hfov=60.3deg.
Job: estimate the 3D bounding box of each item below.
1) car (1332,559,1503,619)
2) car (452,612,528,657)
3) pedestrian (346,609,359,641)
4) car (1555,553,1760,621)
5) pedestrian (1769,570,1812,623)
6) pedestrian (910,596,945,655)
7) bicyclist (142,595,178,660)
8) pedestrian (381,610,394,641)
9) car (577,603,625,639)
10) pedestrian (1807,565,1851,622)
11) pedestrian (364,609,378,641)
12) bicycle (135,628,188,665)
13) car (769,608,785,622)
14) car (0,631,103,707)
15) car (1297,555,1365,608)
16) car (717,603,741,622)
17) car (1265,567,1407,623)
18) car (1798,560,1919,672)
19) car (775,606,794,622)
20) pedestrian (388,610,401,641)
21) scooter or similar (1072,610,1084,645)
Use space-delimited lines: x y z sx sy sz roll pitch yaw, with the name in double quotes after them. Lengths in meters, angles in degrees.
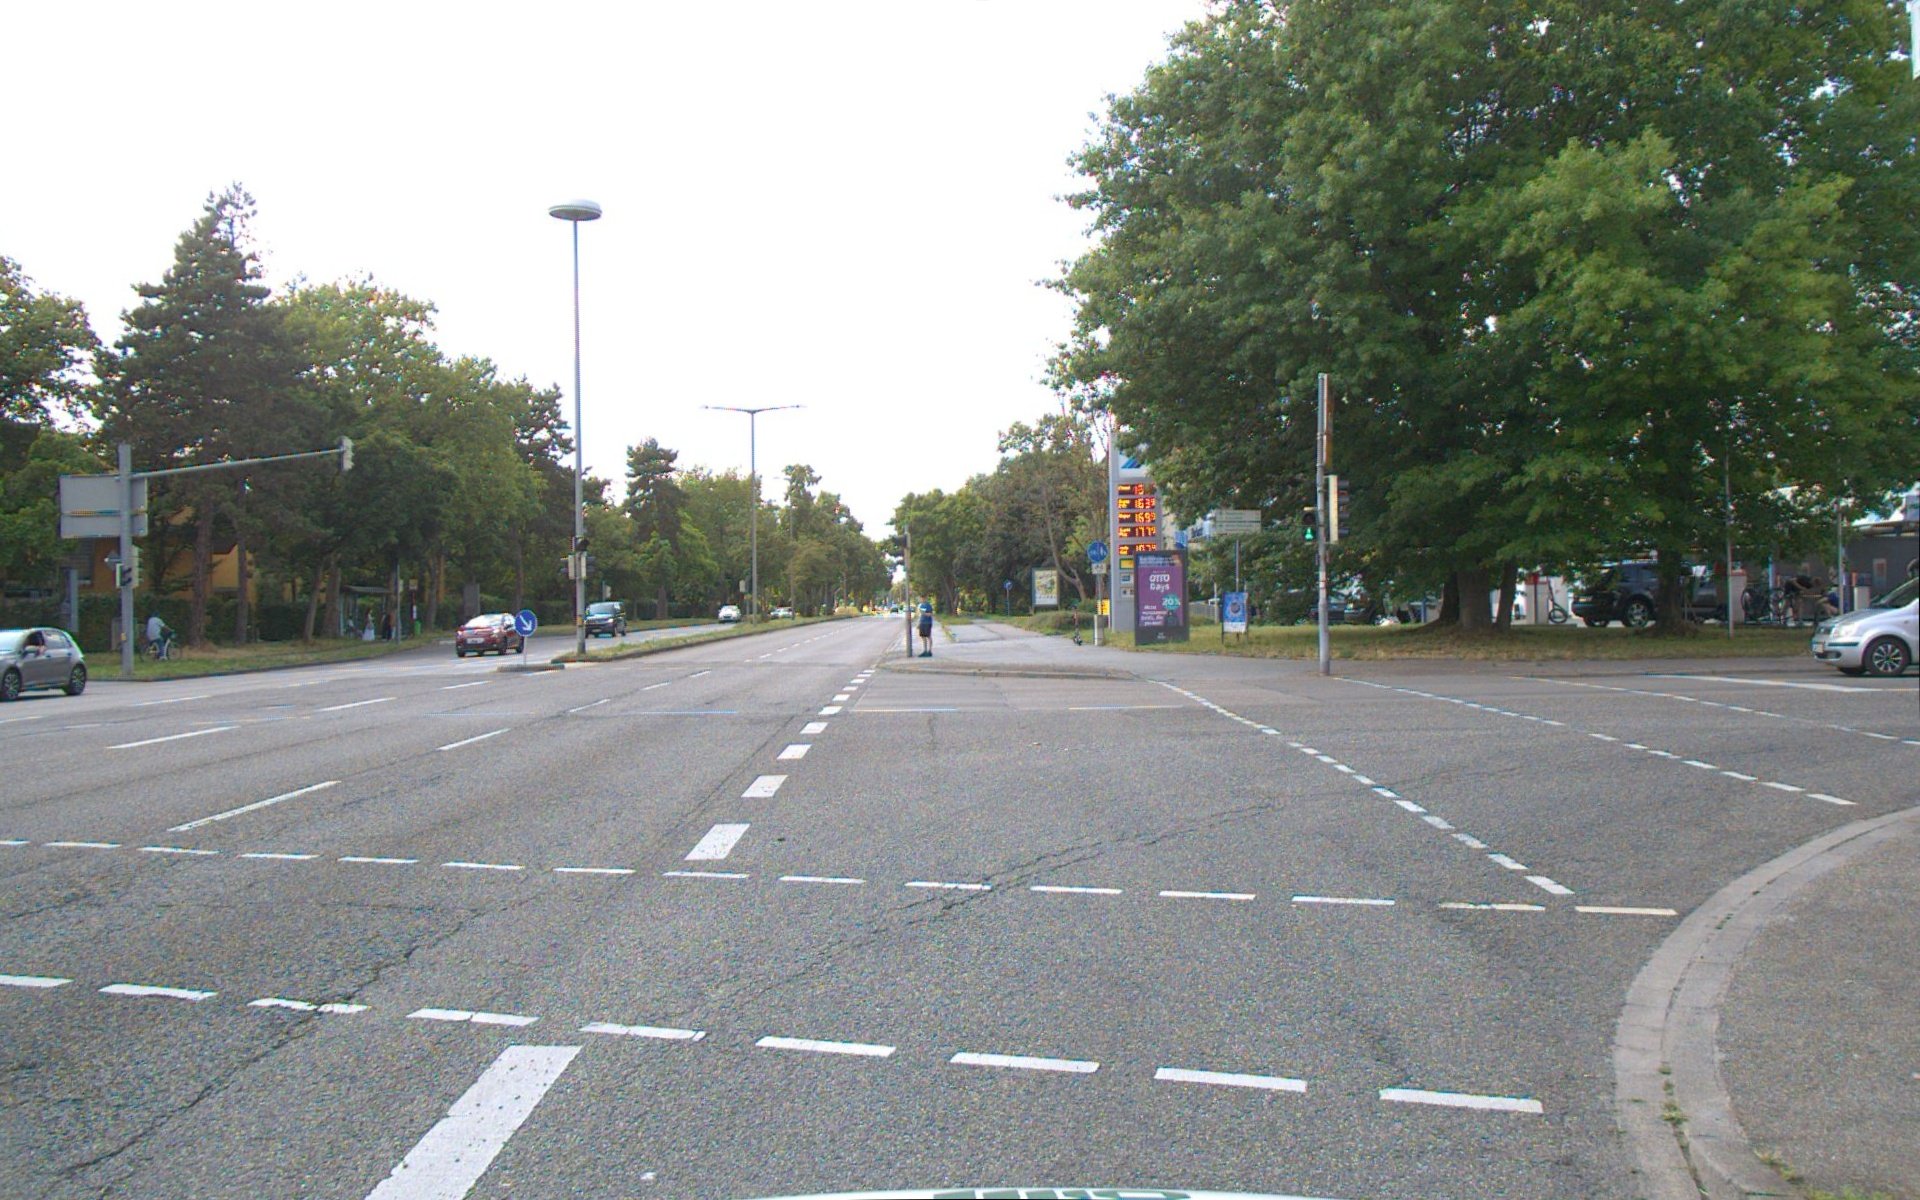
15.224 -0.358 55.137 5.089 1.859 2.147 -1 0 -12 "car"
-17.104 1.229 60.369 1.737 1.490 4.452 -1 0 -4 "car"
-29.591 1.212 80.592 0.561 1.522 0.419 1 -1 -17 "pedestrian"
18.095 -0.328 42.993 4.469 1.624 2.147 -1 0 -12 "car"
19.582 -0.075 38.980 0.753 1.211 0.641 0 -2 45 "pedestrian"
-0.865 0.681 44.263 0.714 1.558 0.756 -1 0 -17 "pedestrian"
-25.658 0.872 53.036 0.736 2.049 0.831 -1 0 -4 "bicyclist"
-28.172 1.243 81.405 0.561 1.522 0.419 1 -1 -17 "pedestrian"
-20.597 1.181 95.016 1.729 1.889 4.815 -1 0 -1 "car"
20.145 -0.145 38.327 0.753 1.277 0.641 0 -2 45 "pedestrian"
-28.762 1.226 80.767 0.561 1.522 0.419 1 -1 -17 "pedestrian"
-25.650 1.480 53.154 0.740 1.138 2.113 -1 0 -3 "bicycle"
-23.787 1.937 215.480 1.823 1.735 4.452 -2 0 -3 "car"
-19.101 1.371 33.224 1.561 1.396 4.082 -2 0 1 "car"
18.301 -0.875 81.844 1.715 2.496 5.747 -1 0 -3 "car"
-22.405 1.218 160.786 1.823 1.735 4.453 -1 0 -2 "car"
14.996 -0.193 66.097 5.079 2.039 2.152 -2 0 -5 "car"
14.113 0.204 23.615 3.520 1.543 1.560 -1 0 11 "car"
-19.721 1.537 185.696 1.823 1.735 4.452 -2 0 -3 "car"
-27.597 1.239 80.675 0.561 1.522 0.419 1 -1 -17 "pedestrian"
3.458 0.793 48.568 0.216 0.996 1.272 -1 0 -1 "scooter or similar"
